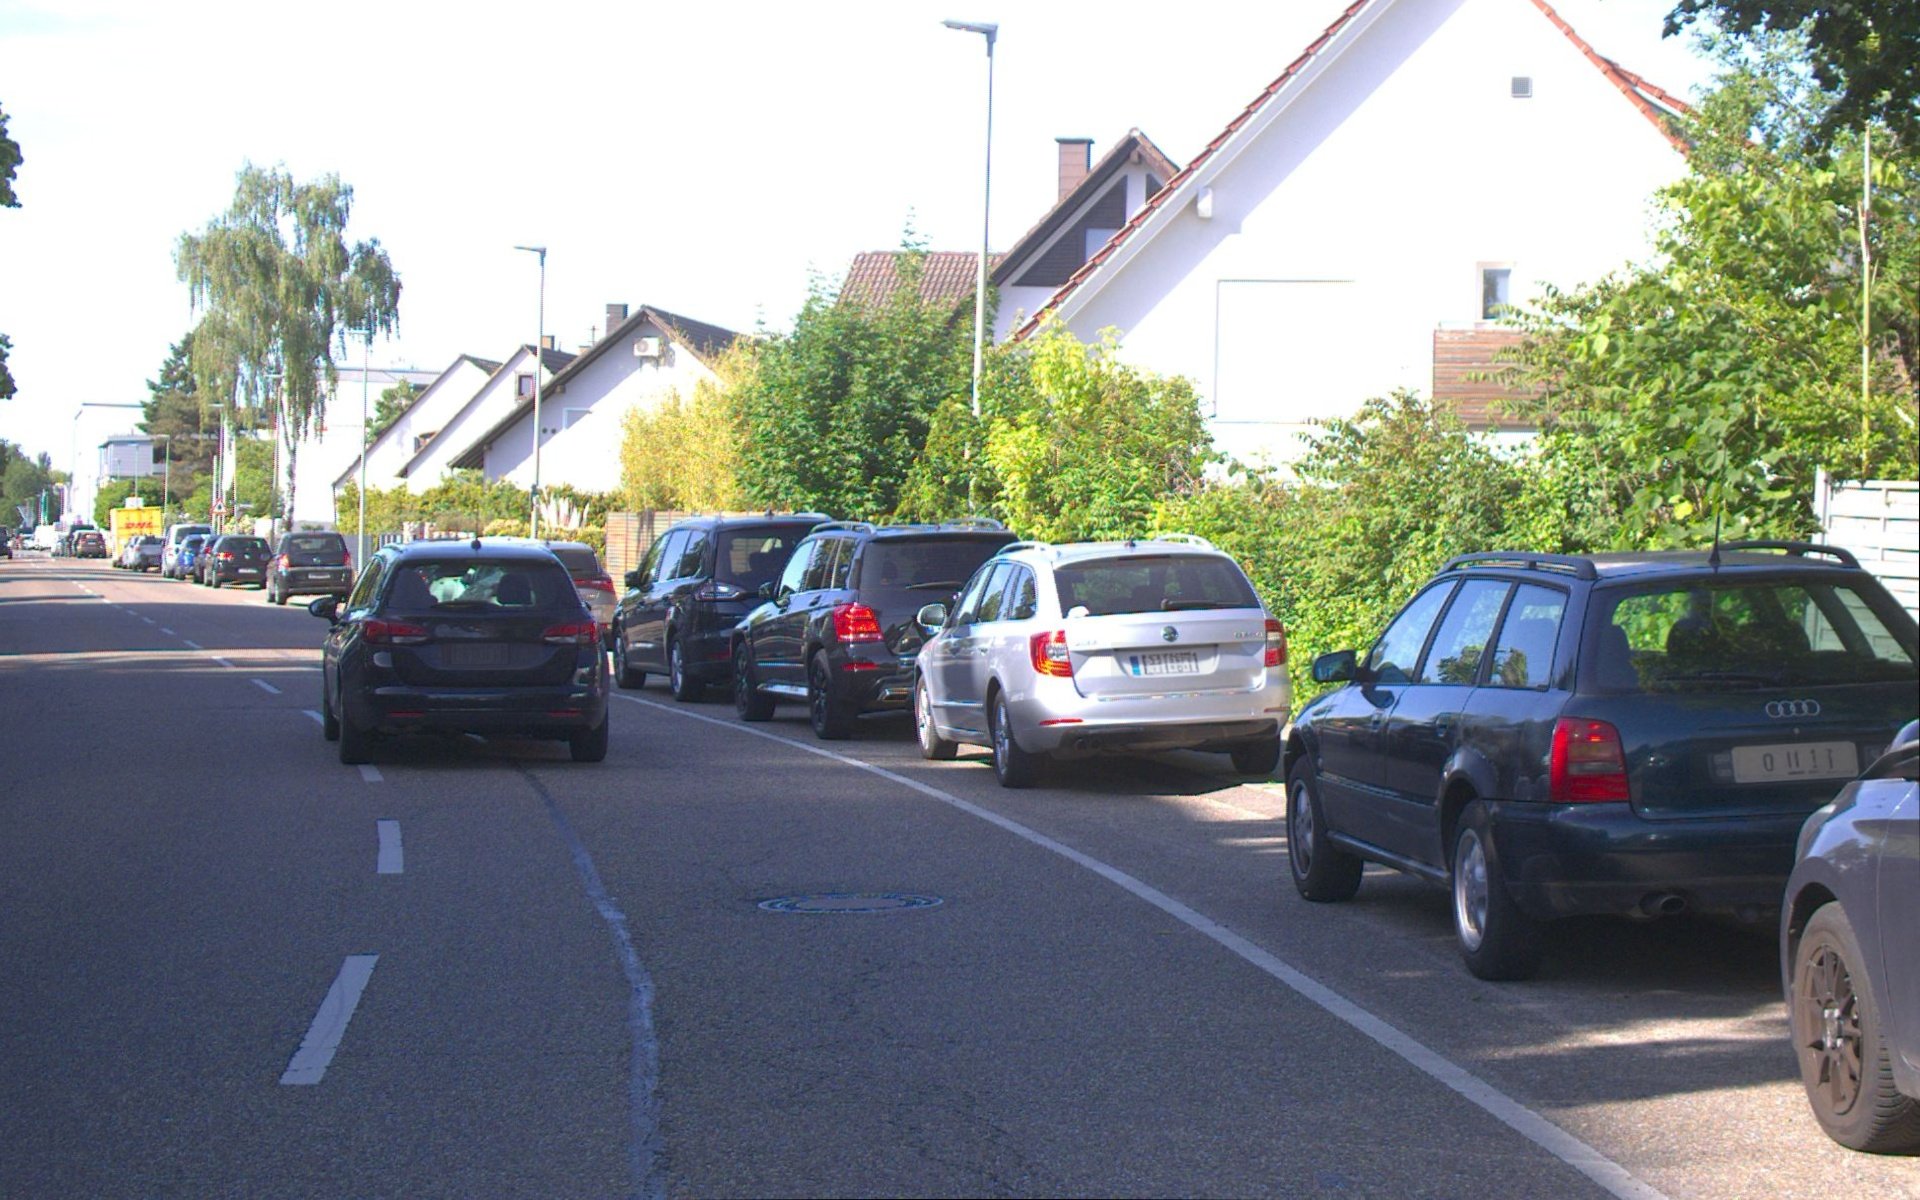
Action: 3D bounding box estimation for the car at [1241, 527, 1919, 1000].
[{"bbox_3d":[2.526,0.495,12.942,2.005,1.470,4.295,0,0,-8],"label":"car"}]

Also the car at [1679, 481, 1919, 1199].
[{"bbox_3d":[3.080,0.547,7.320,1.911,1.595,4.295,0,1,-4],"label":"car"}]

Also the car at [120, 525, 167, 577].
[{"bbox_3d":[-33.942,-2.022,142.837,1.749,2.007,3.952,1,-1,-15],"label":"car"}]

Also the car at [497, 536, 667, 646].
[{"bbox_3d":[-5.142,-0.129,46.332,1.915,1.402,4.295,0,0,-11],"label":"car"}]

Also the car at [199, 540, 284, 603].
[{"bbox_3d":[-20.191,-0.792,96.534,2.005,1.718,4.295,0,0,-16],"label":"car"}]

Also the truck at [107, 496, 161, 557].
[{"bbox_3d":[-38.285,-3.377,159.235,2.204,2.590,5.145,1,-1,-16],"label":"truck"}]

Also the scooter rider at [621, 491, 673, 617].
[{"bbox_3d":[-5.092,-0.742,55.851,0.685,2.007,0.820,1,-1,-15],"label":"scooter rider"}]

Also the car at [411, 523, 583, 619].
[{"bbox_3d":[-7.123,-0.437,52.599,1.915,1.402,4.295,0,0,-17],"label":"car"}]

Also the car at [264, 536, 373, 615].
[{"bbox_3d":[-14.515,-0.556,77.626,2.005,1.718,4.295,0,0,-16],"label":"car"}]

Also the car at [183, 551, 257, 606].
[{"bbox_3d":[-23.794,-0.690,110.431,2.005,1.718,4.295,0,0,-16],"label":"car"}]

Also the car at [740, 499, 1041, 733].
[{"bbox_3d":[-0.647,0.103,27.593,2.005,1.718,4.295,0,0,-7],"label":"car"}]

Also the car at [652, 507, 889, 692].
[{"bbox_3d":[-1.894,-0.016,33.196,1.902,1.660,4.192,0,0,-8],"label":"car"}]

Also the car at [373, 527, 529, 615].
[{"bbox_3d":[-8.481,-0.481,56.979,1.915,1.402,4.295,0,0,-17],"label":"car"}]

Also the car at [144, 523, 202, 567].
[{"bbox_3d":[-31.546,-2.180,137.686,2.005,1.718,4.295,0,0,-16],"label":"car"}]

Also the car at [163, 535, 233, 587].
[{"bbox_3d":[-25.674,-1.298,115.737,2.005,1.718,4.295,0,0,-16],"label":"car"}]

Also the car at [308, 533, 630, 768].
[{"bbox_3d":[-3.514,0.278,23.985,1.761,1.486,4.292,0,1,-14],"label":"car"}]

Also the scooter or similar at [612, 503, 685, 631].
[{"bbox_3d":[-5.060,-0.507,55.774,0.685,2.007,2.963,1,-1,-15],"label":"scooter or similar"}]

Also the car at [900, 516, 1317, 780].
[{"bbox_3d":[0.842,0.266,22.174,1.819,1.529,4.260,0,0,-10],"label":"car"}]
